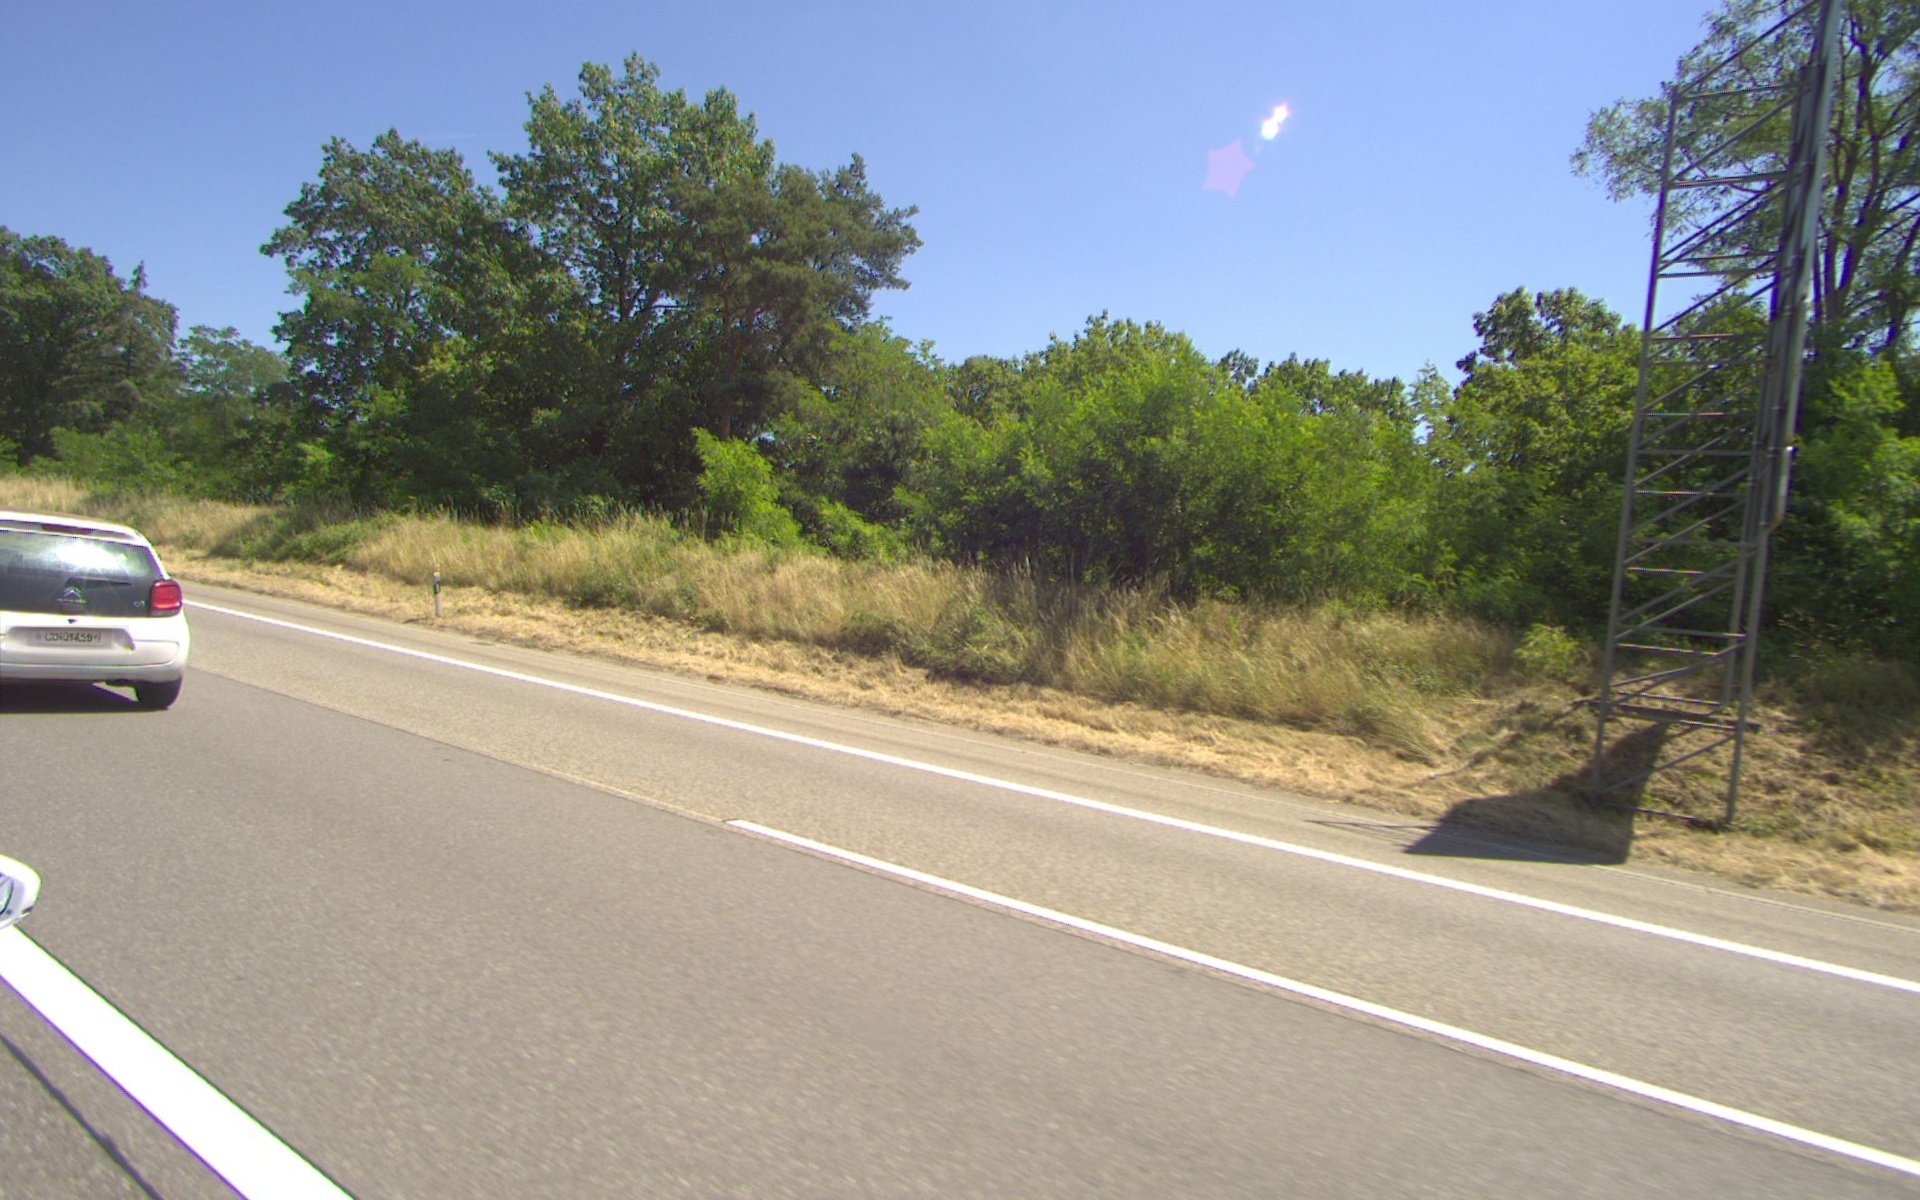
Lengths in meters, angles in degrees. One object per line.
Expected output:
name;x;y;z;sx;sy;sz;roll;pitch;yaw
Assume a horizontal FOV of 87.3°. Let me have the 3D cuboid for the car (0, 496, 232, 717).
car;-7.977;-0.096;8.329;3.958;1.513;1.711;7;-1;32
